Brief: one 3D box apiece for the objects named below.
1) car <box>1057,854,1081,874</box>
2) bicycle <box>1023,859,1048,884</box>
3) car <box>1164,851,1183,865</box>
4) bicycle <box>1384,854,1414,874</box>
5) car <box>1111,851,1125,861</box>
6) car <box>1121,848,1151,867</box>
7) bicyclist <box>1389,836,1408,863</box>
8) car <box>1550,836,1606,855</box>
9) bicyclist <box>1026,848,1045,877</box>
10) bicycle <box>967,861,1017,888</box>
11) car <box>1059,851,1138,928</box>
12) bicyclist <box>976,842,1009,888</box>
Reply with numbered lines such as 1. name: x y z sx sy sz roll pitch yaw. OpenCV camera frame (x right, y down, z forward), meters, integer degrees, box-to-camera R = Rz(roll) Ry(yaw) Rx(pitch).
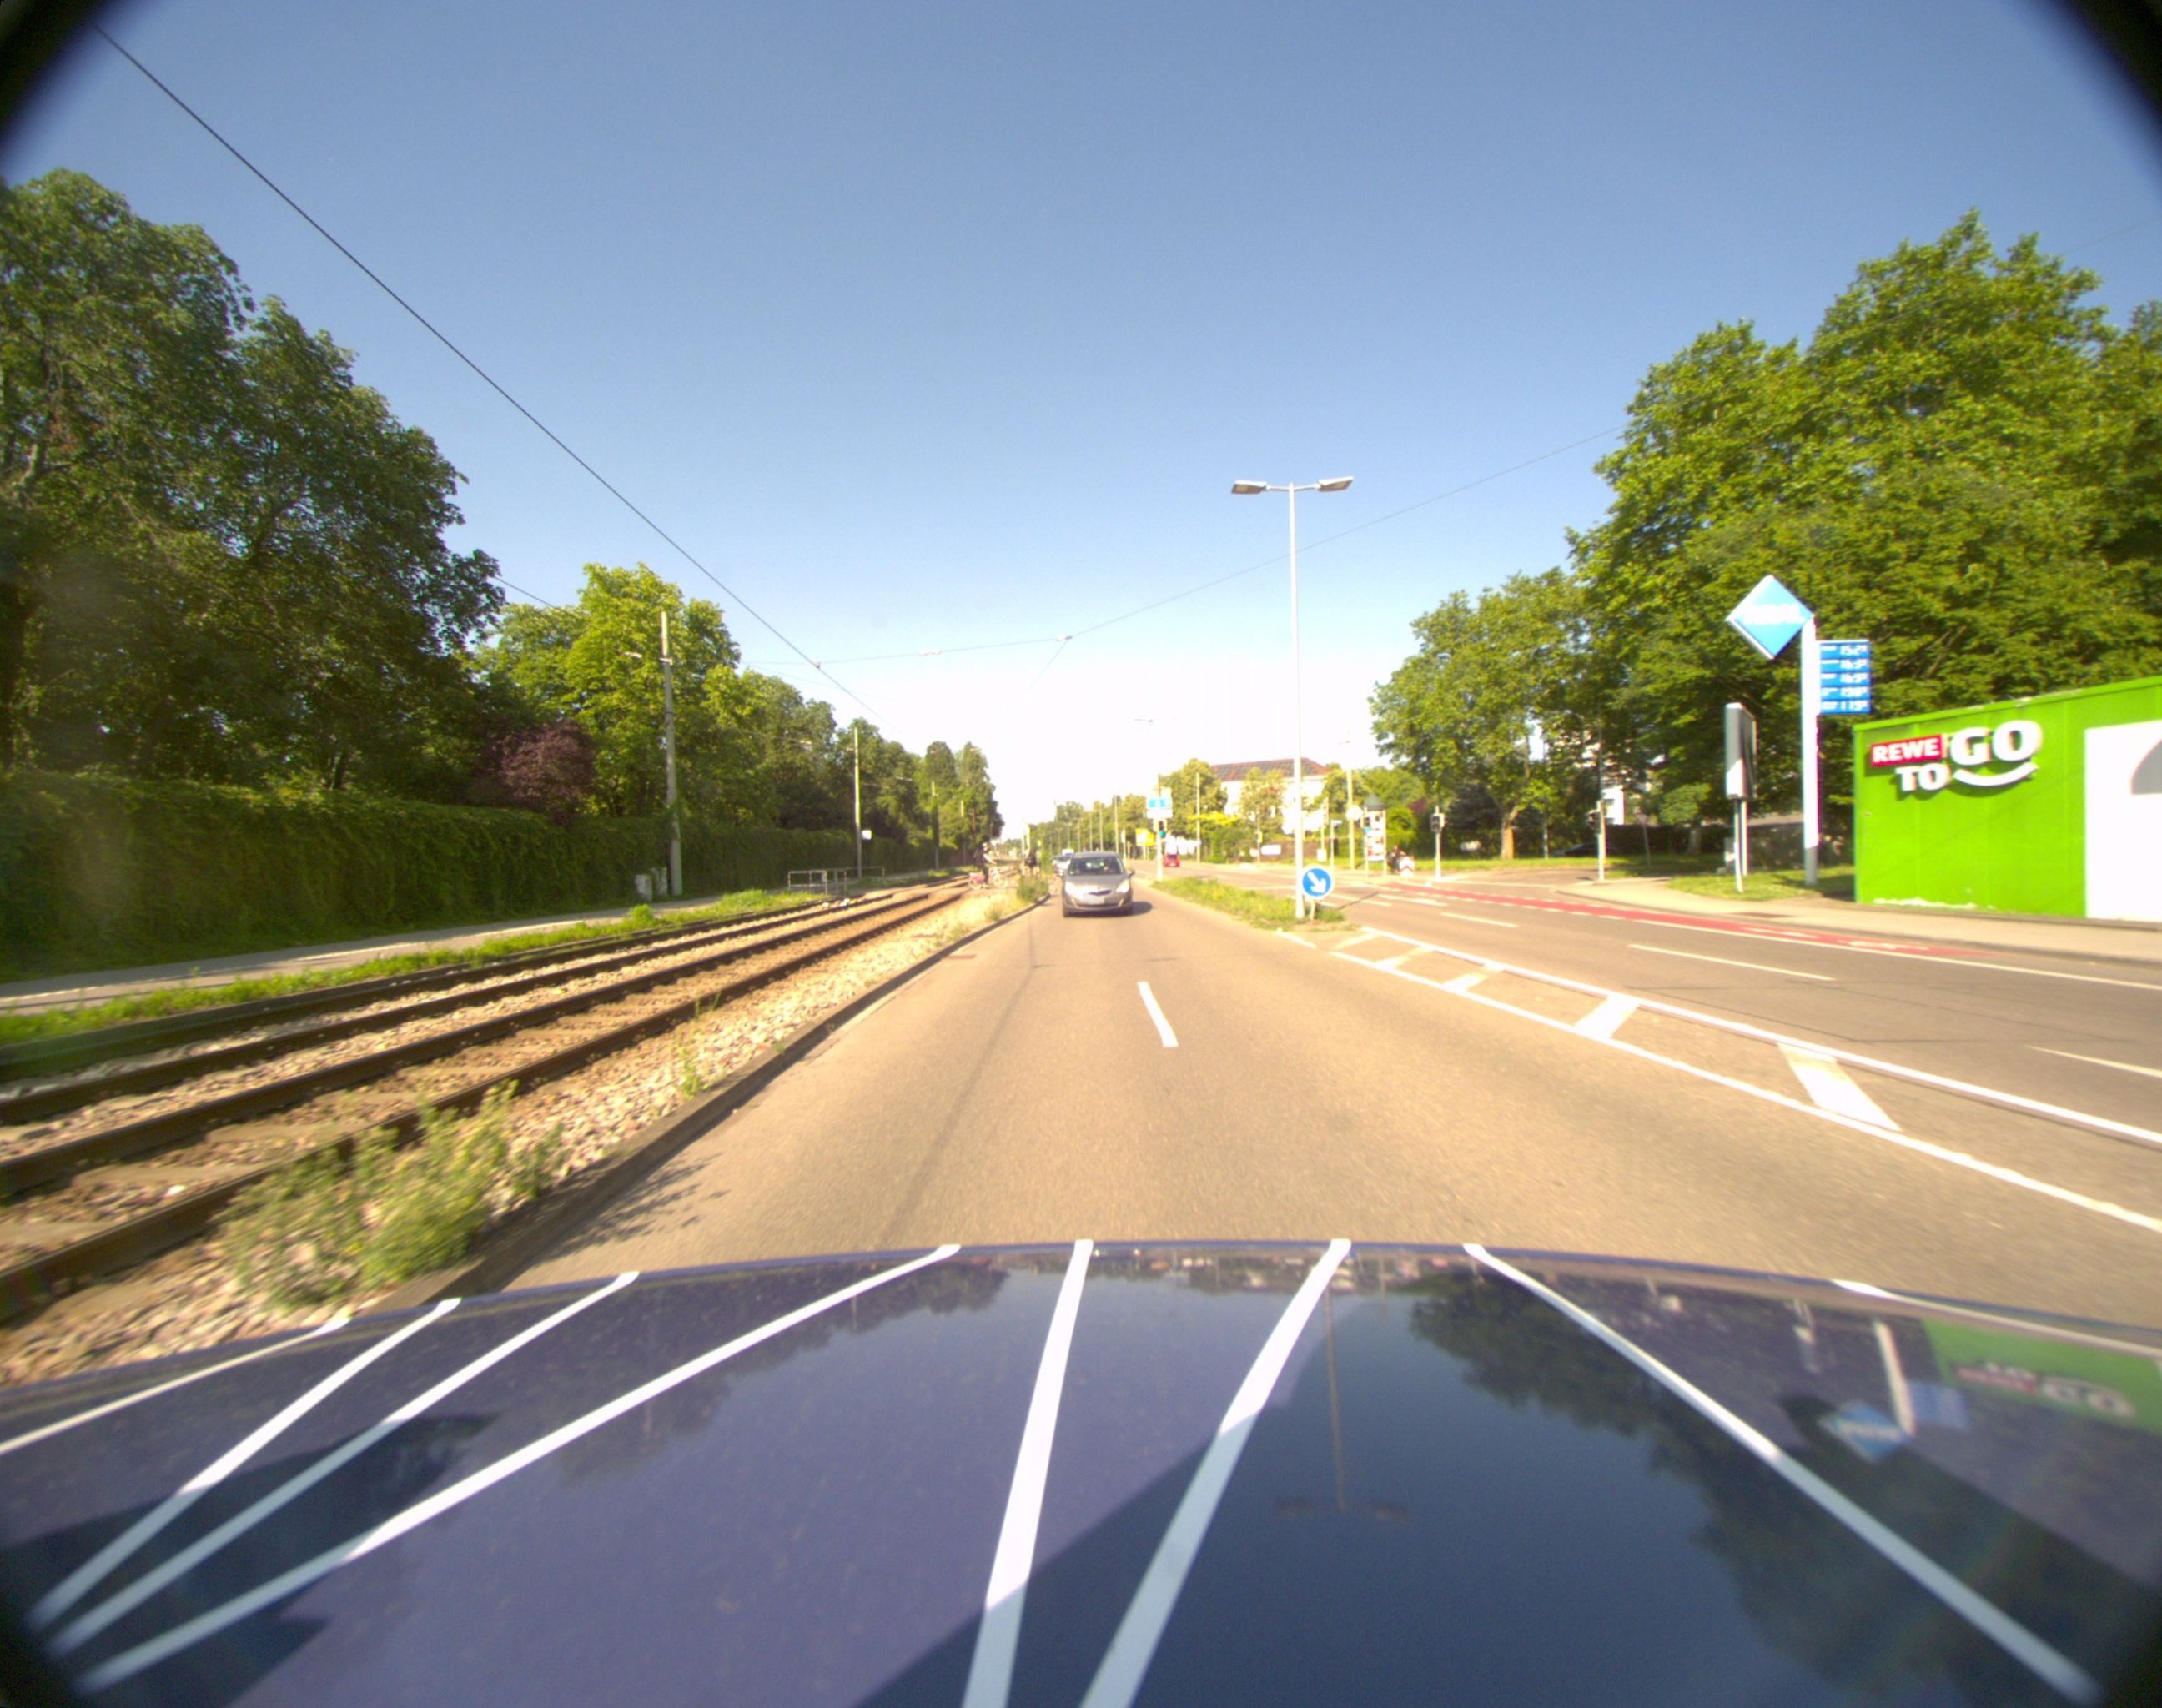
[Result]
1. car: -1.001 0.817 62.937 1.710 1.513 3.831 -3 1 -4
2. bicycle: -2.270 0.874 38.348 0.644 1.147 1.939 1 1 15
3. car: 9.563 0.399 78.710 1.578 1.409 3.333 -2 1 0
4. bicycle: 17.902 0.523 42.795 0.663 1.043 2.580 -2 1 2
5. car: 5.468 0.314 112.440 1.657 1.387 4.132 -2 1 -2
6. car: 4.723 0.279 65.319 1.765 1.477 4.642 -4 1 -5
7. bicyclist: 17.881 -0.252 42.810 0.663 1.444 1.051 -2 1 2
8. car: 40.174 -0.685 61.492 3.421 1.300 1.508 -4 1 5
9. bicyclist: -2.283 0.420 38.206 0.644 1.408 1.014 -1 1 15
10. bicycle: -3.895 0.897 33.313 1.922 1.108 0.949 -1 1 23
11. car: 0.349 0.767 18.383 1.650 1.581 3.832 -3 1 -1
12. bicyclist: -3.870 0.474 33.313 1.034 1.982 0.949 -1 1 23
